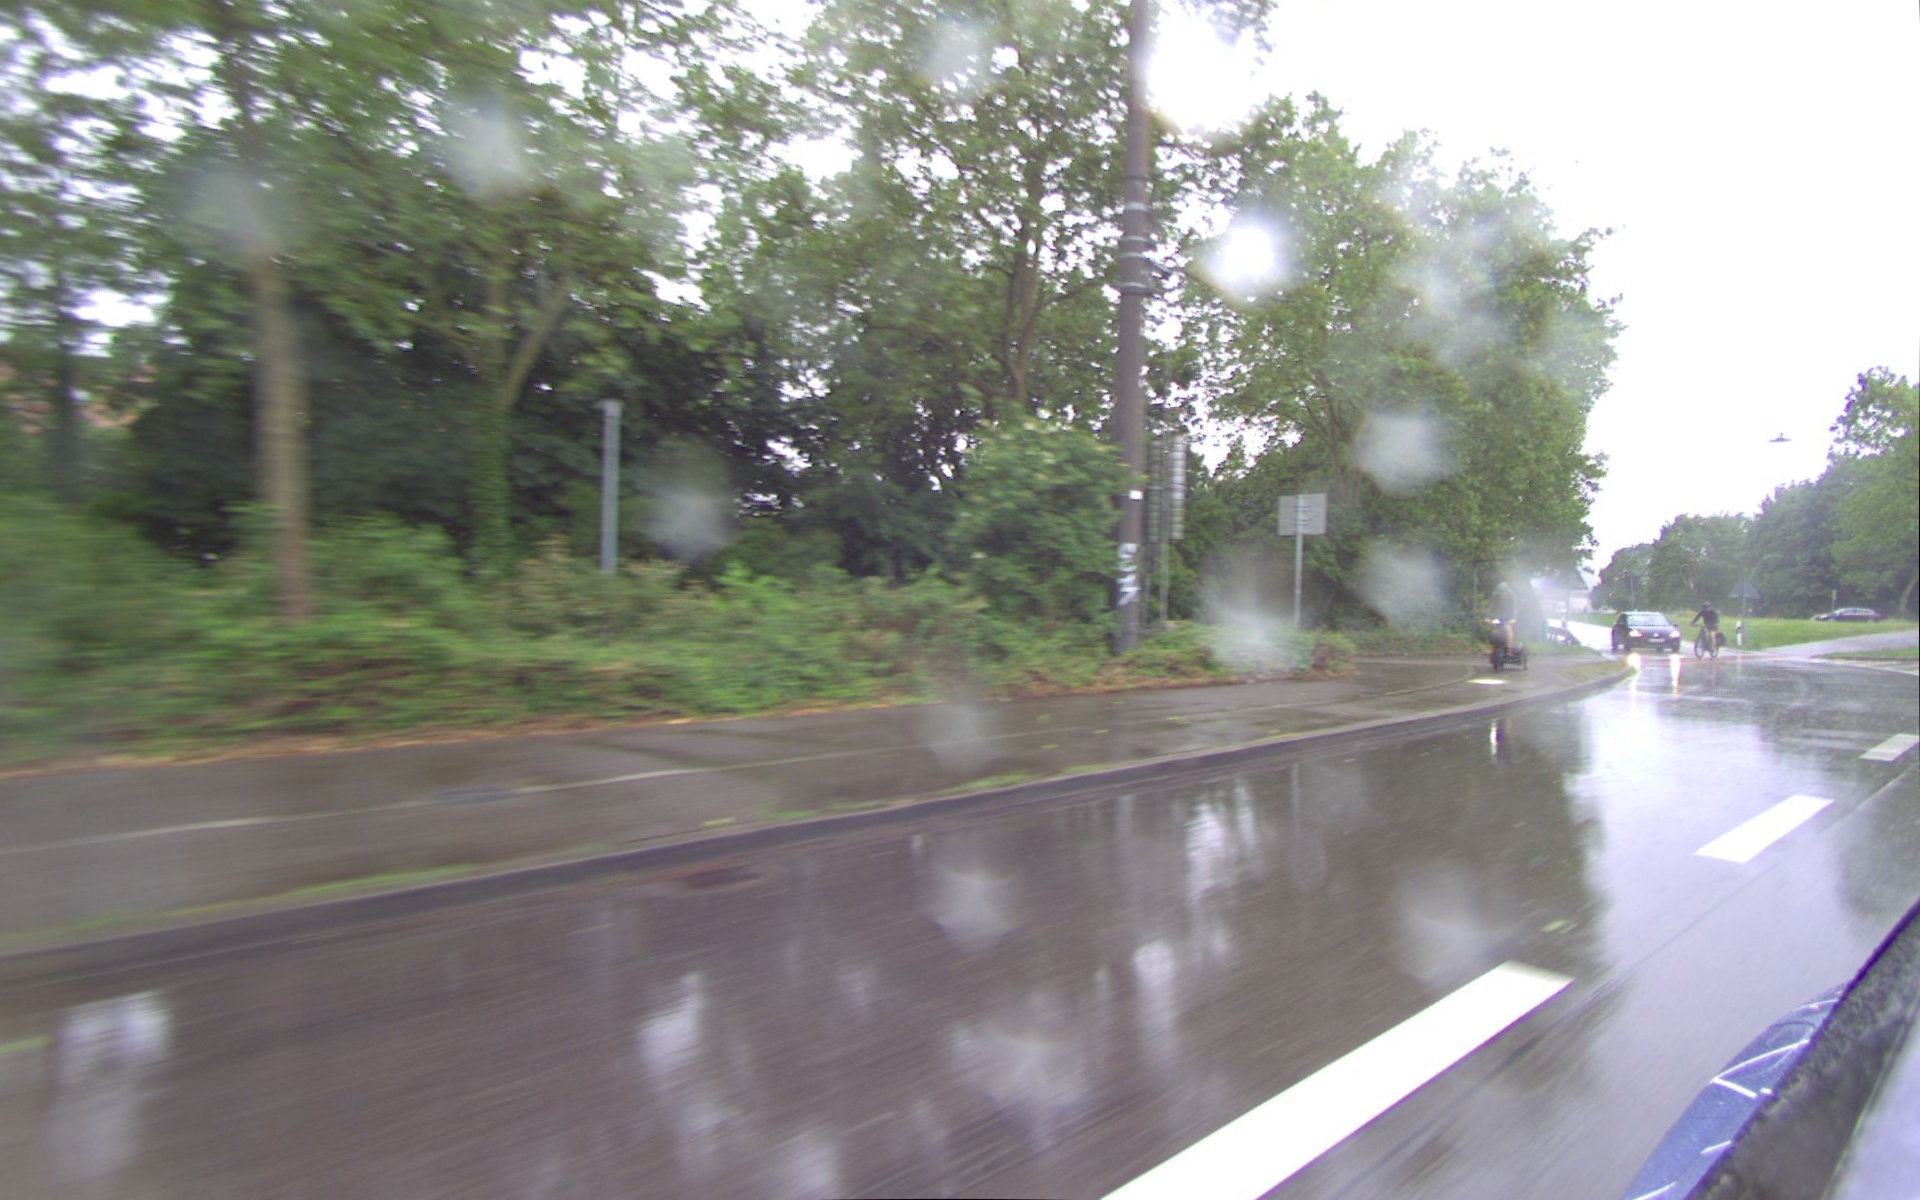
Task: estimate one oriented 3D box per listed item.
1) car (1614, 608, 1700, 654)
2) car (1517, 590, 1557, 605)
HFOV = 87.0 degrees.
[{"bbox_3d":[26.835,1.140,39.098,1.848,1.556,4.481,1,1,23],"label":"car"},{"bbox_3d":[63.061,-0.251,110.722,1.716,1.437,4.006,1,2,-7],"label":"car"}]
